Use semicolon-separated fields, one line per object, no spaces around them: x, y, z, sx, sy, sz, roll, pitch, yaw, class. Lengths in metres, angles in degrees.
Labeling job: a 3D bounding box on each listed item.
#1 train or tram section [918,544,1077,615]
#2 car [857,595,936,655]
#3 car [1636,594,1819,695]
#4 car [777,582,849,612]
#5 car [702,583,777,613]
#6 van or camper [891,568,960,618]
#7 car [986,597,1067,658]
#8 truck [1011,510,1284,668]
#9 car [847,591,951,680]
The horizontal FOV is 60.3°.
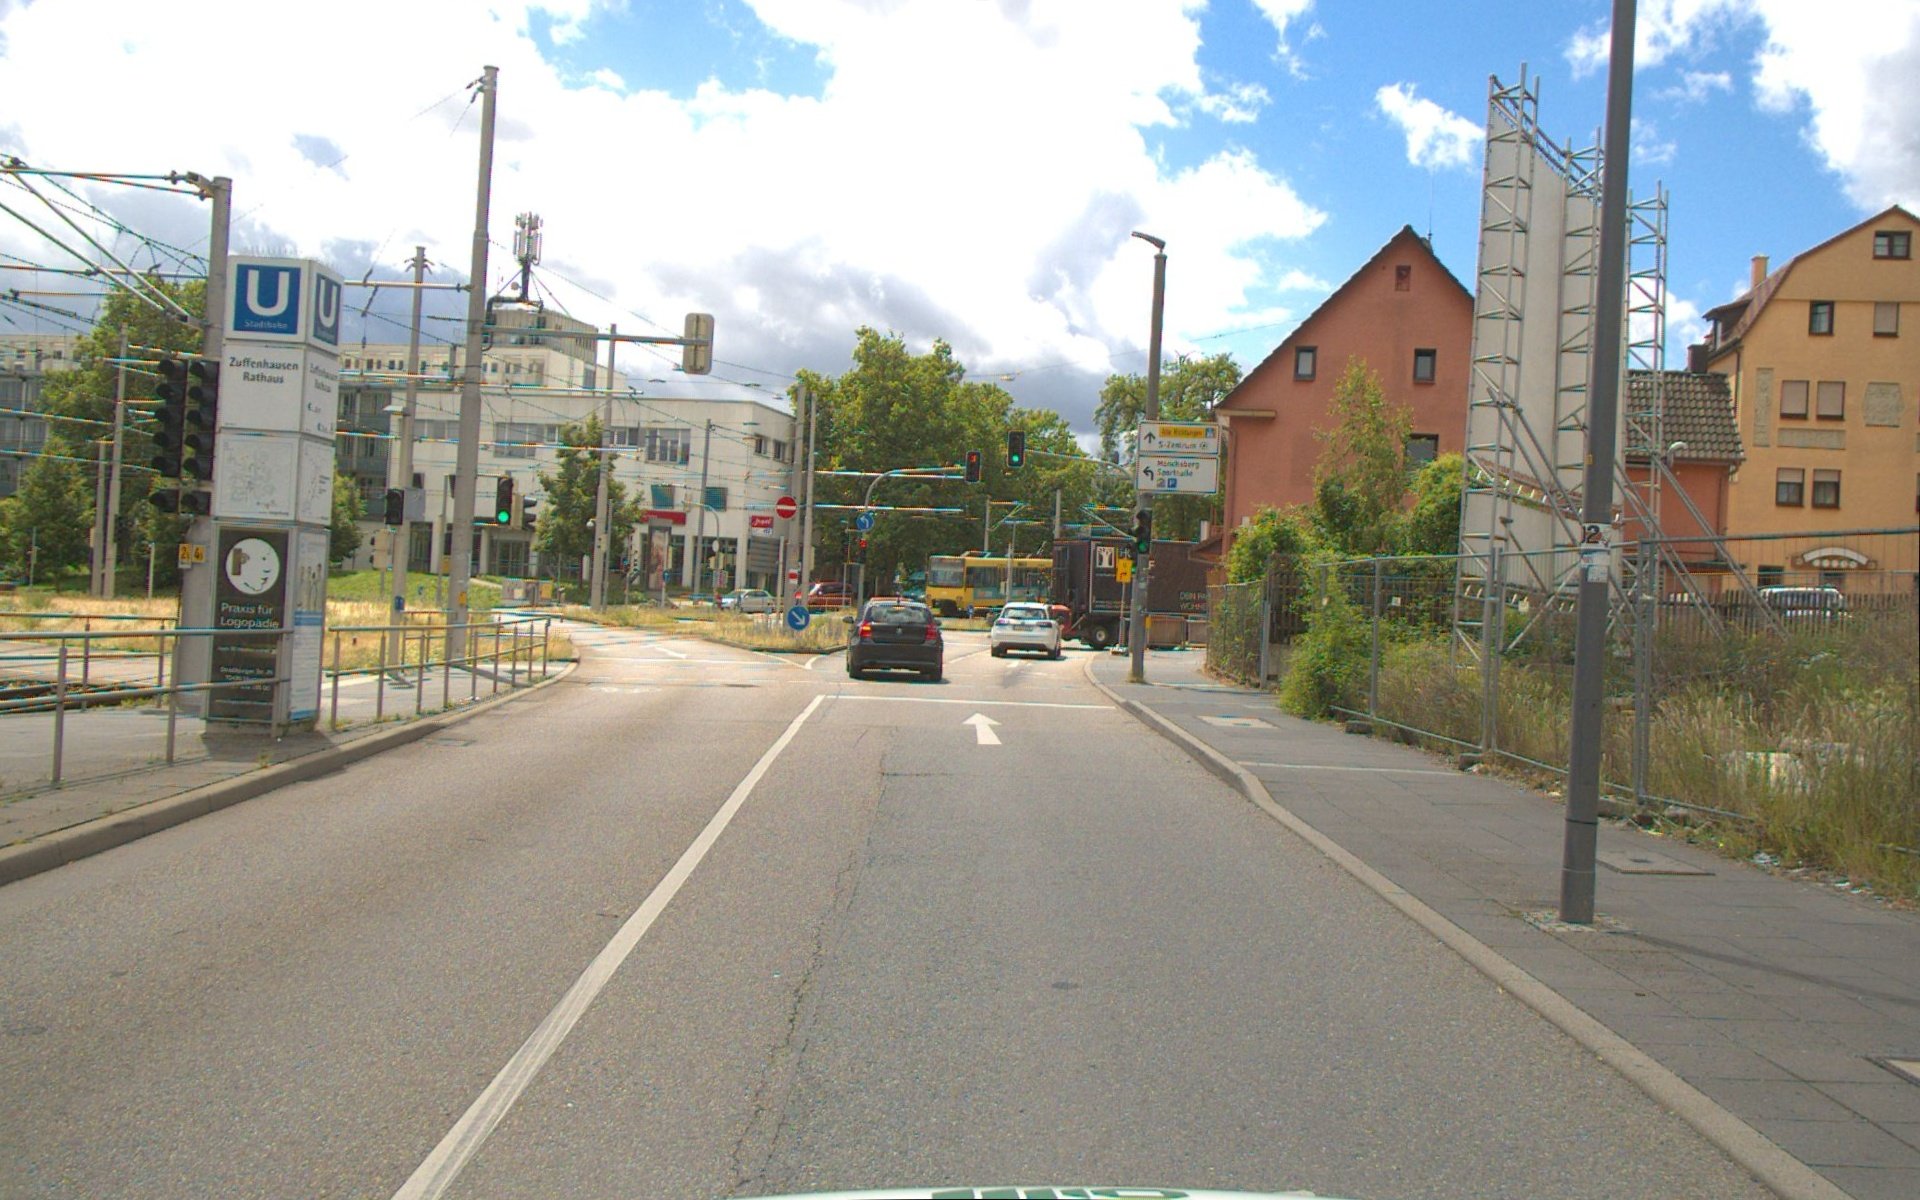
2.695;-1.103;102.896;2.644;3.816;18.346;3;1;25;train or tram section
-1.604;0.613;43.047;1.676;1.417;3.810;2;0;3;car
9.246;0.500;20.064;1.050;1.140;2.445;1;0;-1;car
-8.874;-0.154;100.255;1.963;1.628;4.178;3;0;39;car
-12.660;-0.119;95.177;1.963;1.489;3.978;3;-1;40;car
-2.262;-0.429;111.301;2.132;2.854;6.065;3;-2;24;van or camper
1.895;0.726;46.017;1.848;1.491;4.072;2;1;7;car
6.541;-0.288;57.247;8.892;4.614;3.186;5;-2;-27;truck
-1.203;0.618;30.972;1.693;1.482;3.805;2;0;-5;car
